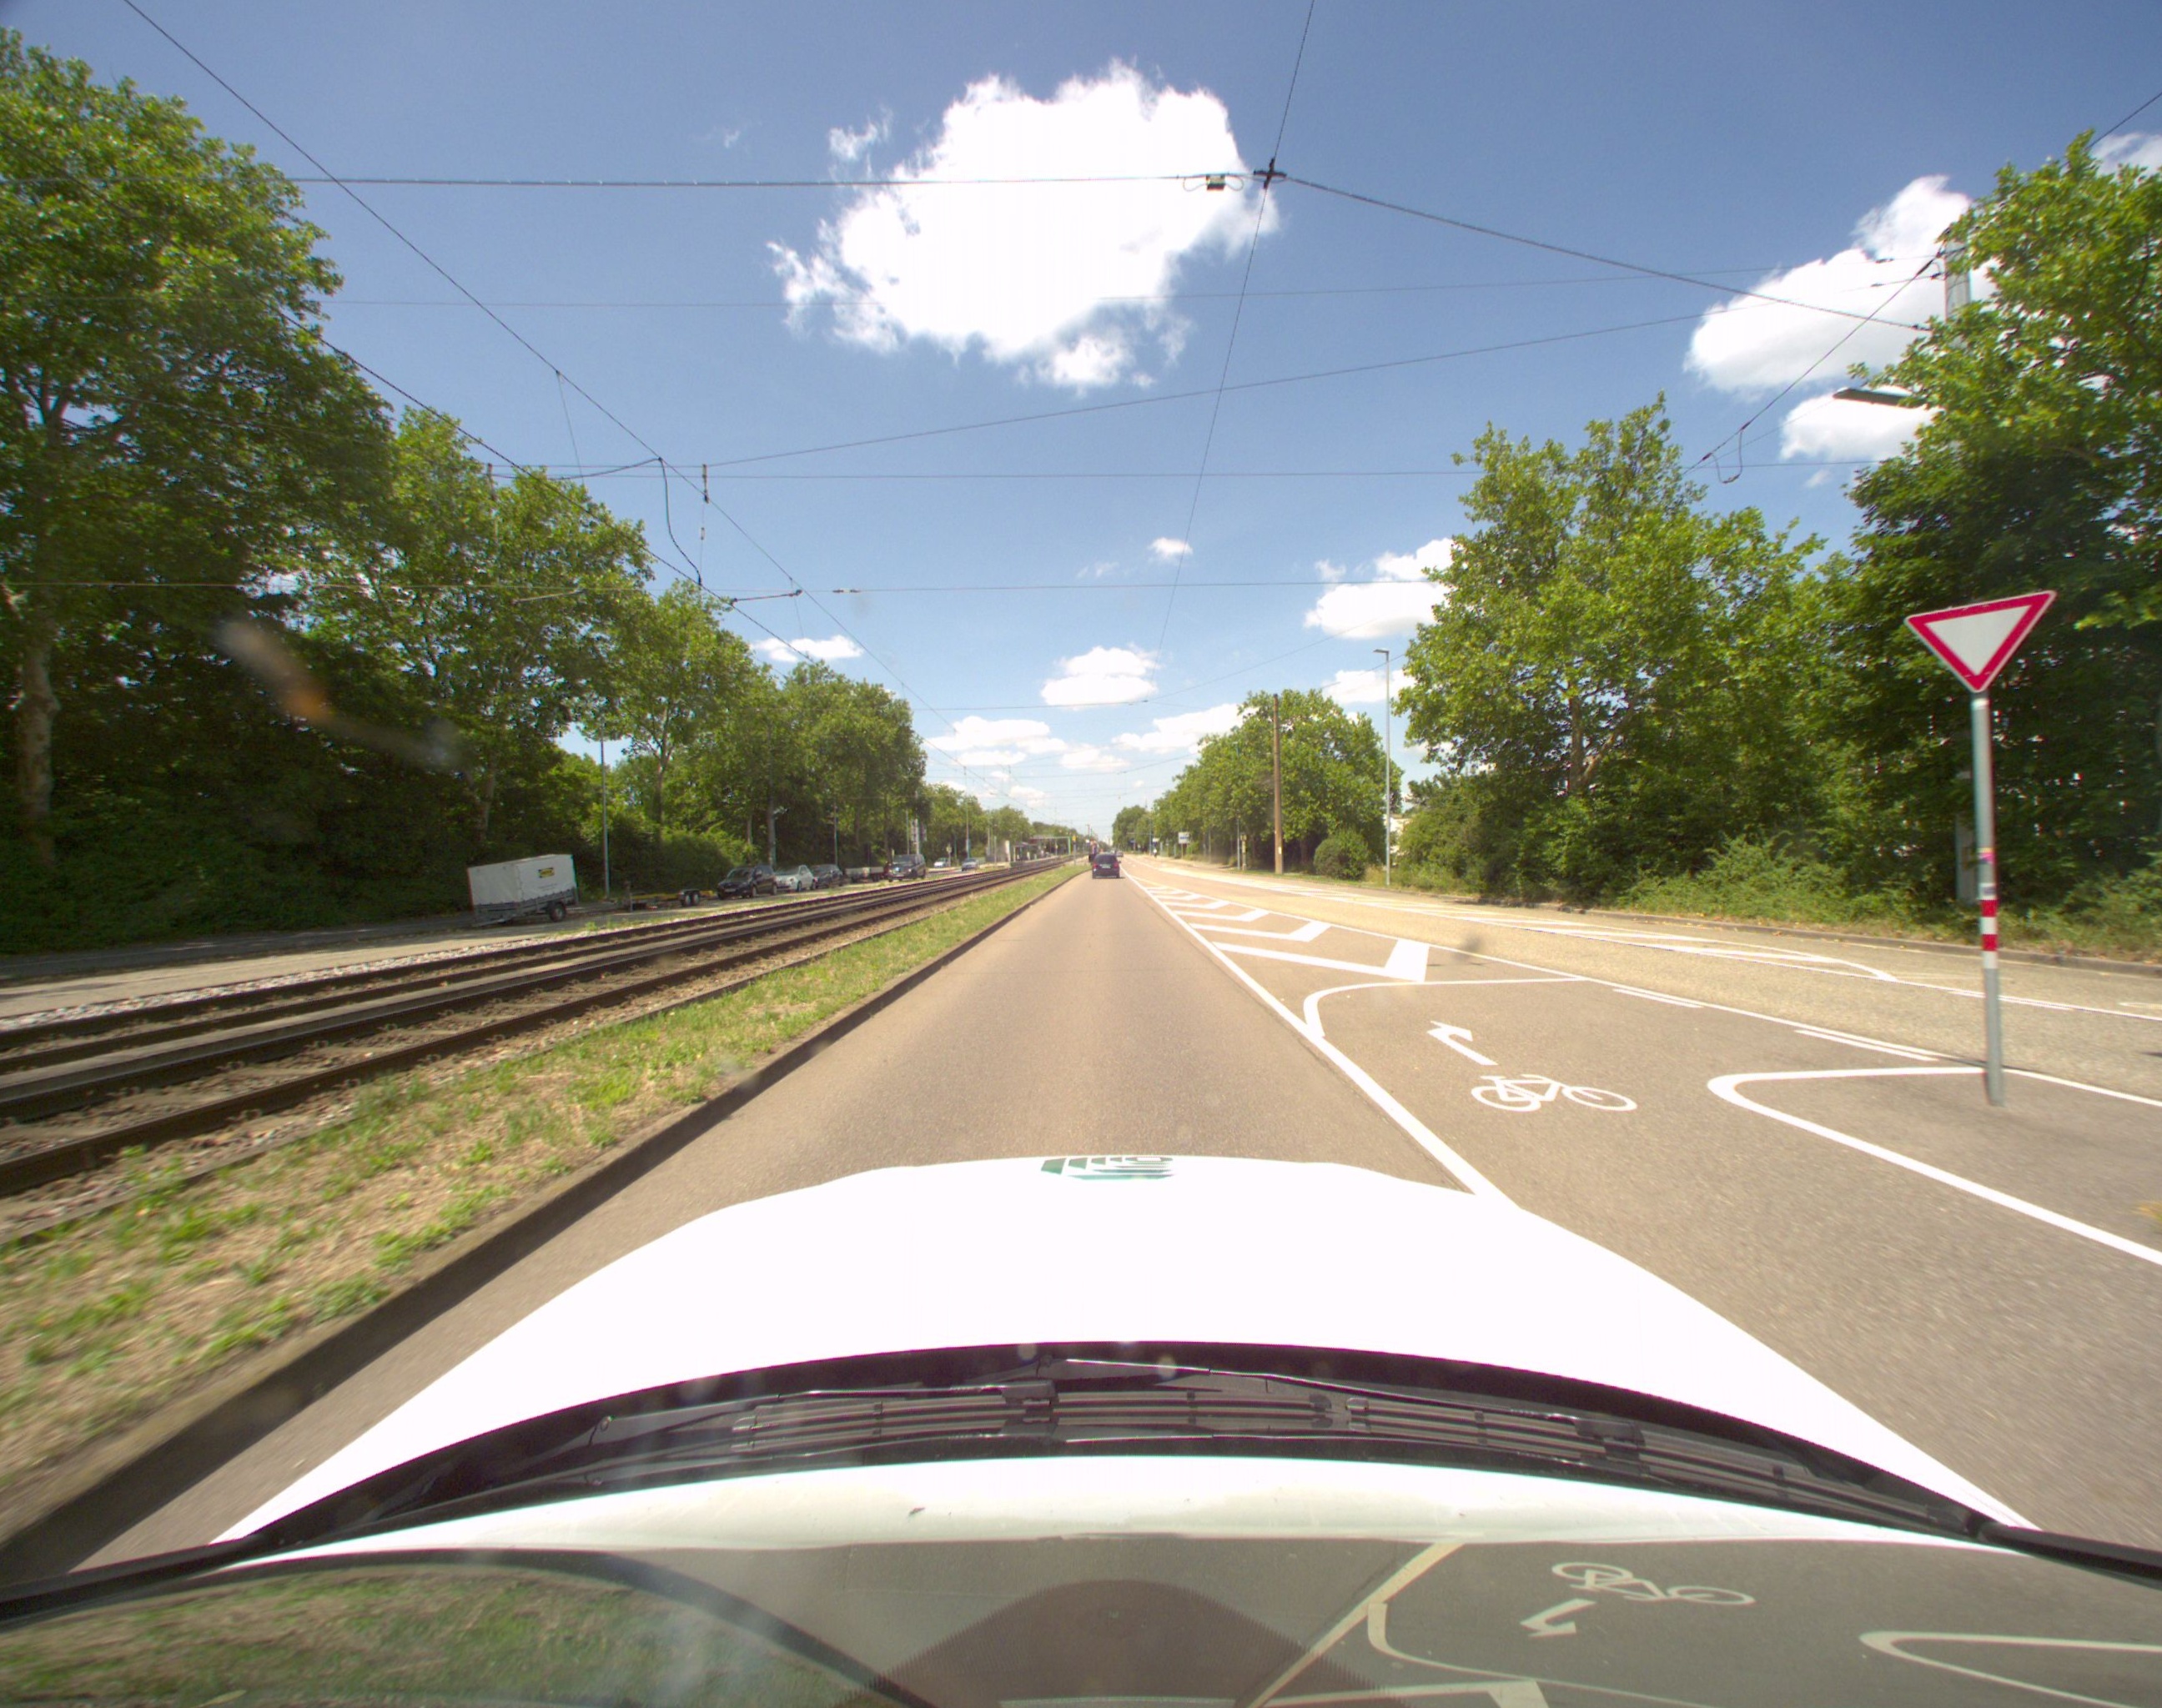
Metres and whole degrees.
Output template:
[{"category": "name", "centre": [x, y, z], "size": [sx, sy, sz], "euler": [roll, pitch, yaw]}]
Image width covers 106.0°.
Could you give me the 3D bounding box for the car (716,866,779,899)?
[{"category": "car", "centre": [-16.029, 1.343, 39.306], "size": [1.429, 1.451, 3.921], "euler": [-1, 0, 0]}]

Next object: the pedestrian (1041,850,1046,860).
[{"category": "pedestrian", "centre": [-7.562, 0.126, 162.751], "size": [0.949, 2.013, 0.892], "euler": [0, 1, 1]}]

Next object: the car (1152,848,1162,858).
[{"category": "car", "centre": [14.517, -0.205, 155.475], "size": [1.606, 2.013, 3.440], "euler": [0, 1, 1]}]

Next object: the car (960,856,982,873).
[{"category": "car", "centre": [-13.007, 1.223, 96.646], "size": [1.986, 2.013, 4.001], "euler": [-1, 0, 1]}]

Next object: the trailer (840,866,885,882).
[{"category": "trailer", "centre": [-16.020, 1.457, 60.076], "size": [1.886, 1.044, 5.103], "euler": [0, 0, 0]}]

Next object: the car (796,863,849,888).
[{"category": "car", "centre": [-15.978, 1.303, 50.573], "size": [1.864, 1.401, 4.417], "euler": [-1, 0, 0]}]

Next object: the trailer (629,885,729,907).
[{"category": "trailer", "centre": [-16.138, 1.670, 32.944], "size": [1.986, 0.742, 4.001], "euler": [-1, -1, 1]}]

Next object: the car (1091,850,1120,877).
[{"category": "car", "centre": [1.628, 0.562, 52.699], "size": [1.845, 1.570, 4.392], "euler": [0, 2, 3]}]

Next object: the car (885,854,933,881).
[{"category": "car", "centre": [-12.116, 0.930, 57.696], "size": [2.109, 1.790, 5.406], "euler": [-1, 0, 1]}]

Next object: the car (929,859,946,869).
[{"category": "car", "centre": [-23.259, 1.597, 132.039], "size": [1.986, 1.574, 4.002], "euler": [-1, 0, 2]}]

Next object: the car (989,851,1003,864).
[{"category": "car", "centre": [-14.503, 0.556, 139.620], "size": [1.987, 2.013, 4.000], "euler": [0, 1, 0]}]

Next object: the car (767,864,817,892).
[{"category": "car", "centre": [-15.972, 1.288, 45.204], "size": [1.429, 1.451, 3.740], "euler": [-1, 0, 0]}]

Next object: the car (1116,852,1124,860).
[{"category": "car", "centre": [9.236, 0.425, 191.421], "size": [1.877, 1.639, 4.003], "euler": [2, 1, 3]}]

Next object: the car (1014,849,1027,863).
[{"category": "car", "centre": [-9.230, 0.301, 124.373], "size": [1.580, 2.013, 4.110], "euler": [0, 1, 0]}]

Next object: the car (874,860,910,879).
[{"category": "car", "centre": [-15.990, 1.289, 69.113], "size": [1.986, 1.574, 4.001], "euler": [-1, 0, 1]}]

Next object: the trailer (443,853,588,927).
[{"category": "trailer", "centre": [-16.630, 0.980, 24.208], "size": [1.605, 2.013, 3.914], "euler": [0, 0, -1]}]
